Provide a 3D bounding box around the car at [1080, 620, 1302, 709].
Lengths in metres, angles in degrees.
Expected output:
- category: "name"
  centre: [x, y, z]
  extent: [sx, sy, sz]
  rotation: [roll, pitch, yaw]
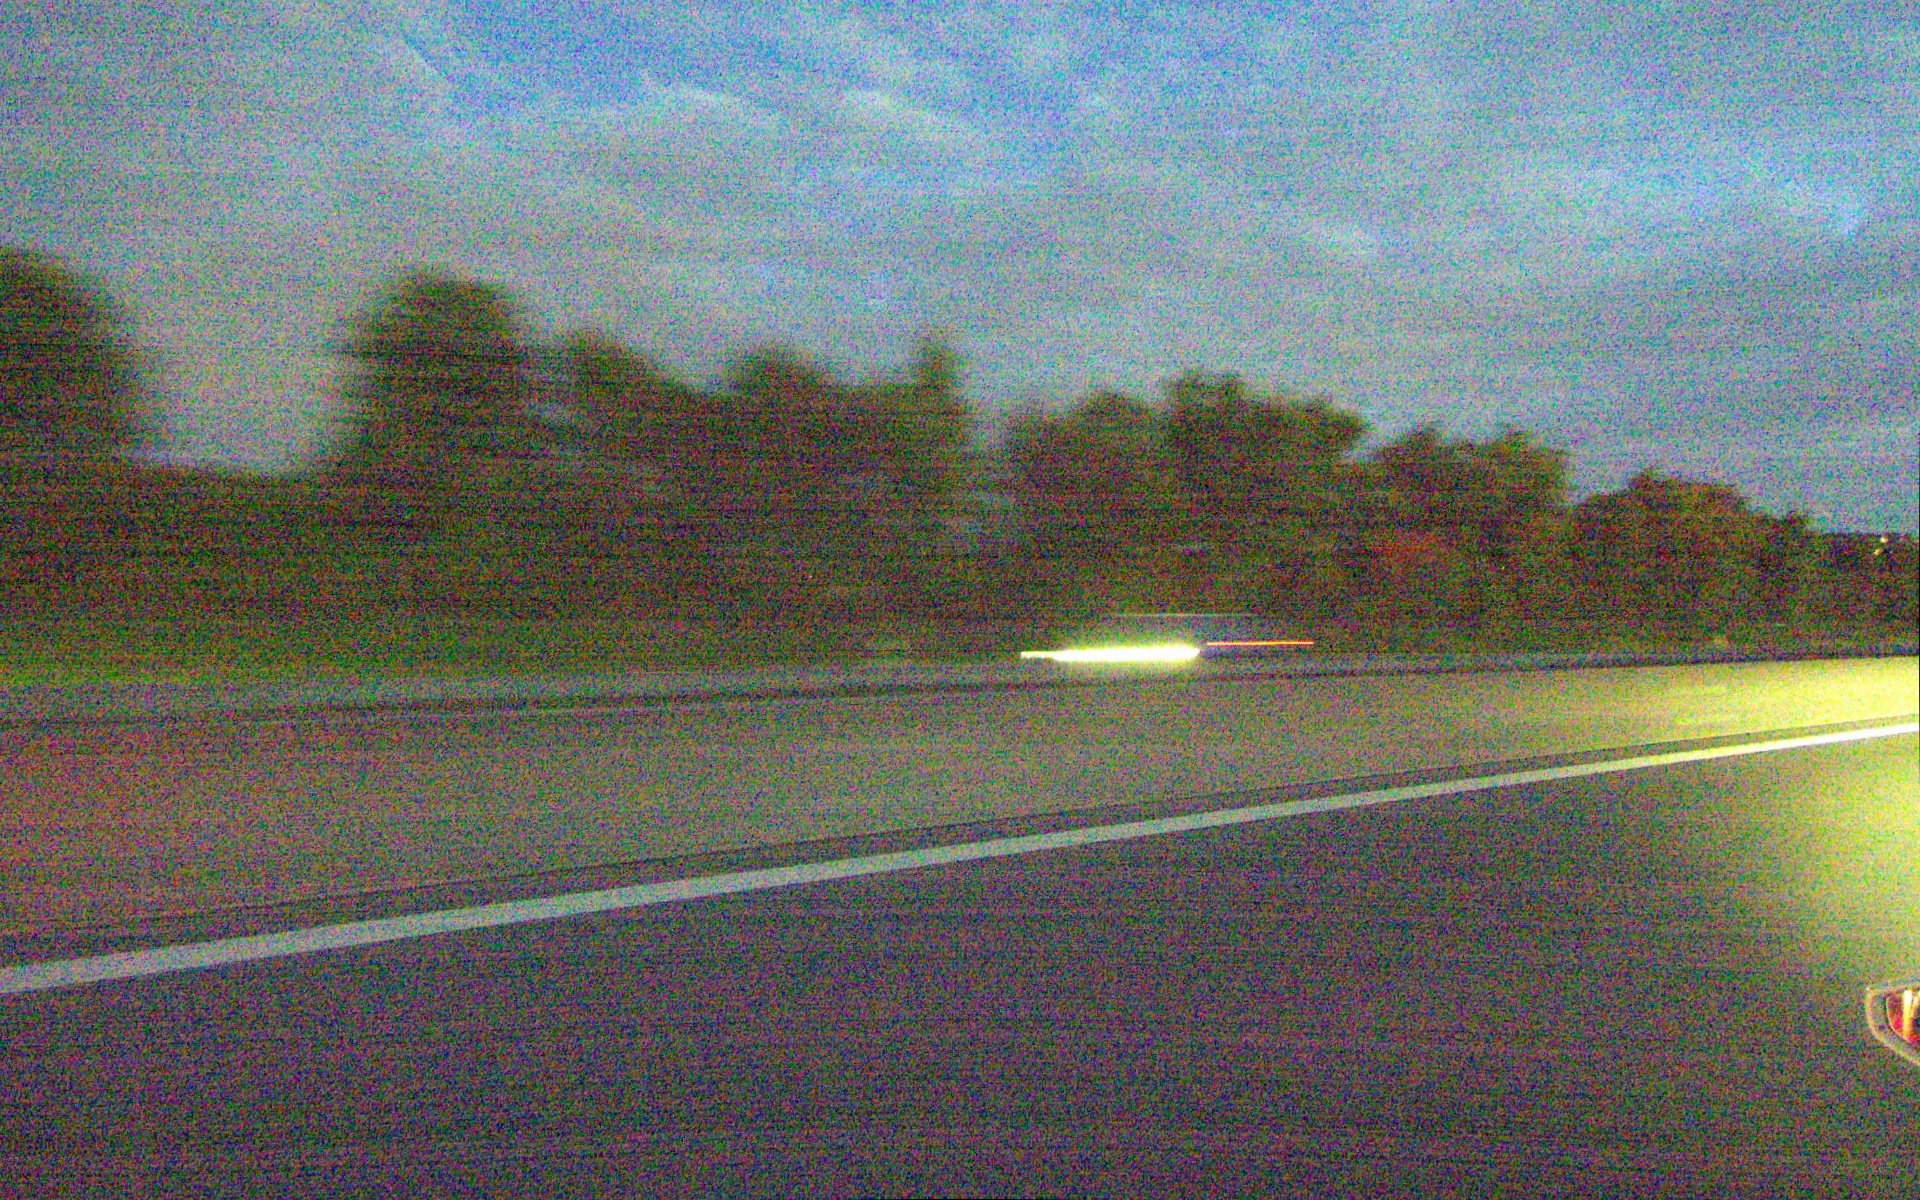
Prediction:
- category: "car"
  centre: [4.724, 1.237, 20.407]
  extent: [4.355, 1.639, 1.893]
  rotation: [1, -1, -32]
